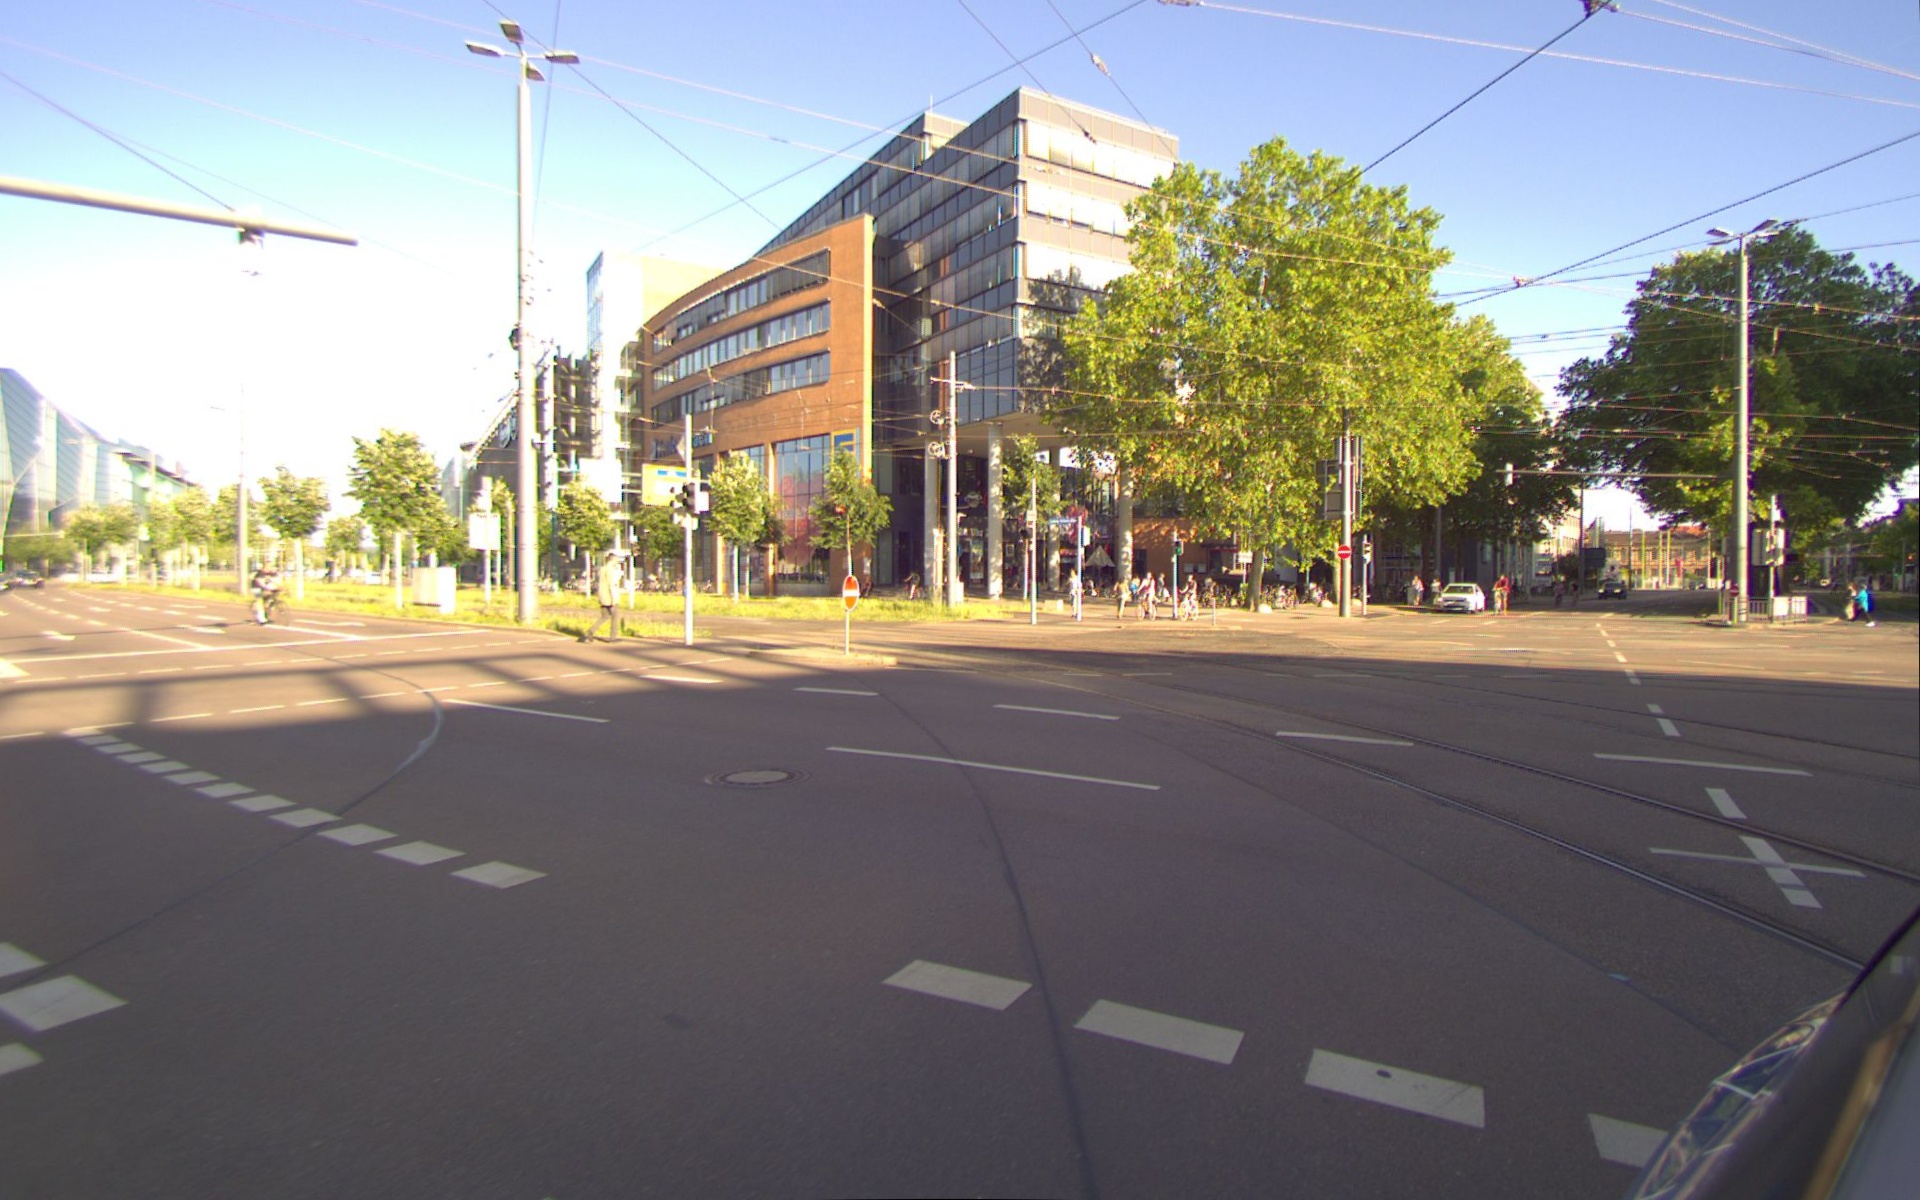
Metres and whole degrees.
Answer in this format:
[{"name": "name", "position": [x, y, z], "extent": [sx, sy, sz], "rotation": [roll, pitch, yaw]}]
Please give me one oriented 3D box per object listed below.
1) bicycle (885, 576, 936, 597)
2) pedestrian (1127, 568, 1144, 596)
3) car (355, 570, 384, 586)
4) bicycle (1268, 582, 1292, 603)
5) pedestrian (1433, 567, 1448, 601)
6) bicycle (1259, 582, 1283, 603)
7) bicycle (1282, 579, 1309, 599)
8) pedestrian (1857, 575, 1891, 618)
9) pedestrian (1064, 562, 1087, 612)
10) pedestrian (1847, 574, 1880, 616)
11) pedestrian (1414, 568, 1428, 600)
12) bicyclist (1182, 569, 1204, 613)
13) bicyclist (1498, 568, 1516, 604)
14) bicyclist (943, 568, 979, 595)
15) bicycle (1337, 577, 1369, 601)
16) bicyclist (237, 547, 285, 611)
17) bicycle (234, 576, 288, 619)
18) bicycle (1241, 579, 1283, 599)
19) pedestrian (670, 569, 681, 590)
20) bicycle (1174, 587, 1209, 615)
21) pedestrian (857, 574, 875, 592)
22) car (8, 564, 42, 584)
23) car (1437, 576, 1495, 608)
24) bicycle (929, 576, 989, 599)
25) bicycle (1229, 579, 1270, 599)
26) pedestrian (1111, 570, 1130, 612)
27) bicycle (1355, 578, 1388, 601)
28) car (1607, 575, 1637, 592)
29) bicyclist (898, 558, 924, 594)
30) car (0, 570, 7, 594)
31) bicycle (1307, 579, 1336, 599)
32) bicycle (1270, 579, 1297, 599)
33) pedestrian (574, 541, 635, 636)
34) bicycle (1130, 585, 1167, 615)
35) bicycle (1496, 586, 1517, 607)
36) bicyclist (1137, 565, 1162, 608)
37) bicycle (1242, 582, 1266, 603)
[{"name": "bicycle", "position": [-2.771, -0.753, 56.455], "extent": [3.033, 1.127, 0.824], "rotation": [1, 2, 37]}, {"name": "pedestrian", "position": [9.646, -1.003, 55.610], "extent": [0.764, 1.546, 0.563], "rotation": [-1, 1, -39]}, {"name": "car", "position": [-57.452, -2.096, 98.432], "extent": [1.874, 1.527, 3.995], "rotation": [0, 0, -40]}, {"name": "bicycle", "position": [15.601, -0.374, 49.342], "extent": [0.389, 0.998, 1.683], "rotation": [1, 2, 45]}, {"name": "pedestrian", "position": [26.215, -0.878, 55.213], "extent": [0.638, 1.798, 0.610], "rotation": [0, 1, 32]}, {"name": "bicycle", "position": [15.274, -0.378, 49.704], "extent": [0.389, 0.998, 1.683], "rotation": [1, 2, 45]}, {"name": "bicycle", "position": [20.147, -0.679, 60.860], "extent": [0.862, 1.105, 2.930], "rotation": [1, 2, 4]}, {"name": "pedestrian", "position": [33.607, -0.136, 37.225], "extent": [0.734, 1.559, 0.671], "rotation": [0, 0, 24]}, {"name": "pedestrian", "position": [4.259, -0.478, 37.401], "extent": [0.688, 1.860, 0.516], "rotation": [0, 0, -23]}, {"name": "pedestrian", "position": [33.872, -0.183, 37.942], "extent": [0.734, 1.559, 0.646], "rotation": [0, 0, 24]}, {"name": "pedestrian", "position": [25.364, -0.885, 55.680], "extent": [0.638, 1.798, 0.610], "rotation": [0, 1, 32]}, {"name": "bicyclist", "position": [9.152, -0.351, 39.707], "extent": [0.568, 1.715, 0.734], "rotation": [0, 1, 42]}, {"name": "bicyclist", "position": [25.410, -0.656, 46.977], "extent": [0.633, 1.635, 0.917], "rotation": [1, 1, 35]}, {"name": "bicyclist", "position": [0.037, -0.956, 52.481], "extent": [1.554, 1.398, 1.030], "rotation": [1, 1, 36]}, {"name": "bicycle", "position": [22.673, -0.651, 58.404], "extent": [0.862, 1.250, 2.930], "rotation": [1, 2, 4]}, {"name": "bicyclist", "position": [-18.665, -0.565, 27.026], "extent": [0.987, 1.688, 0.757], "rotation": [1, 1, 34]}, {"name": "bicycle", "position": [-18.681, -0.087, 27.036], "extent": [1.673, 1.121, 0.637], "rotation": [1, 1, 34]}, {"name": "bicycle", "position": [17.830, -0.679, 59.815], "extent": [0.859, 1.105, 2.940], "rotation": [0, 2, -17]}, {"name": "pedestrian", "position": [-21.908, -1.583, 77.935], "extent": [0.694, 1.589, 0.623], "rotation": [-1, 2, -35]}, {"name": "bicycle", "position": [9.085, 0.021, 39.643], "extent": [0.514, 1.034, 1.830], "rotation": [0, 2, 43]}, {"name": "pedestrian", "position": [-5.696, -1.036, 61.344], "extent": [0.771, 1.070, 0.814], "rotation": [-1, 2, -35]}, {"name": "car", "position": [-78.232, -2.157, 84.676], "extent": [3.987, 1.622, 1.857], "rotation": [2, 2, 44]}, {"name": "car", "position": [25.046, -0.396, 50.036], "extent": [1.988, 1.505, 3.948], "rotation": [0, 0, 36]}, {"name": "bicycle", "position": [-0.083, -0.669, 52.556], "extent": [3.161, 1.147, 1.030], "rotation": [1, 2, 36]}, {"name": "bicycle", "position": [16.984, -0.682, 59.427], "extent": [0.859, 1.105, 2.940], "rotation": [0, 2, -17]}, {"name": "pedestrian", "position": [6.266, -0.365, 39.435], "extent": [0.486, 1.602, 0.651], "rotation": [1, 1, 35]}, {"name": "bicycle", "position": [23.693, -0.645, 58.337], "extent": [0.862, 1.250, 2.930], "rotation": [1, 2, 4]}, {"name": "car", "position": [61.626, -1.565, 94.244], "extent": [1.893, 1.553, 3.943], "rotation": [1, 2, 40]}, {"name": "bicyclist", "position": [-2.743, -1.343, 56.466], "extent": [1.223, 1.955, 0.824], "rotation": [1, 1, 36]}, {"name": "car", "position": [-72.110, -1.339, 75.045], "extent": [3.890, 1.745, 1.747], "rotation": [2, 2, 41]}, {"name": "bicycle", "position": [21.553, -0.668, 60.364], "extent": [0.862, 1.105, 2.930], "rotation": [1, 2, 4]}, {"name": "bicycle", "position": [19.204, -0.674, 60.196], "extent": [0.862, 1.105, 2.930], "rotation": [1, 2, 4]}, {"name": "pedestrian", "position": [-7.067, -0.241, 20.146], "extent": [0.673, 1.845, 0.874], "rotation": [0, 2, 37]}, {"name": "bicycle", "position": [6.840, 0.006, 36.685], "extent": [0.514, 1.034, 1.608], "rotation": [0, 2, 43]}, {"name": "bicycle", "position": [25.359, -0.154, 46.926], "extent": [0.648, 0.921, 1.835], "rotation": [1, 2, 36]}, {"name": "bicyclist", "position": [6.873, -0.489, 36.679], "extent": [0.568, 1.521, 0.733], "rotation": [0, 1, 43]}, {"name": "bicycle", "position": [14.643, -0.385, 50.362], "extent": [0.389, 0.998, 1.683], "rotation": [1, 2, 45]}]
